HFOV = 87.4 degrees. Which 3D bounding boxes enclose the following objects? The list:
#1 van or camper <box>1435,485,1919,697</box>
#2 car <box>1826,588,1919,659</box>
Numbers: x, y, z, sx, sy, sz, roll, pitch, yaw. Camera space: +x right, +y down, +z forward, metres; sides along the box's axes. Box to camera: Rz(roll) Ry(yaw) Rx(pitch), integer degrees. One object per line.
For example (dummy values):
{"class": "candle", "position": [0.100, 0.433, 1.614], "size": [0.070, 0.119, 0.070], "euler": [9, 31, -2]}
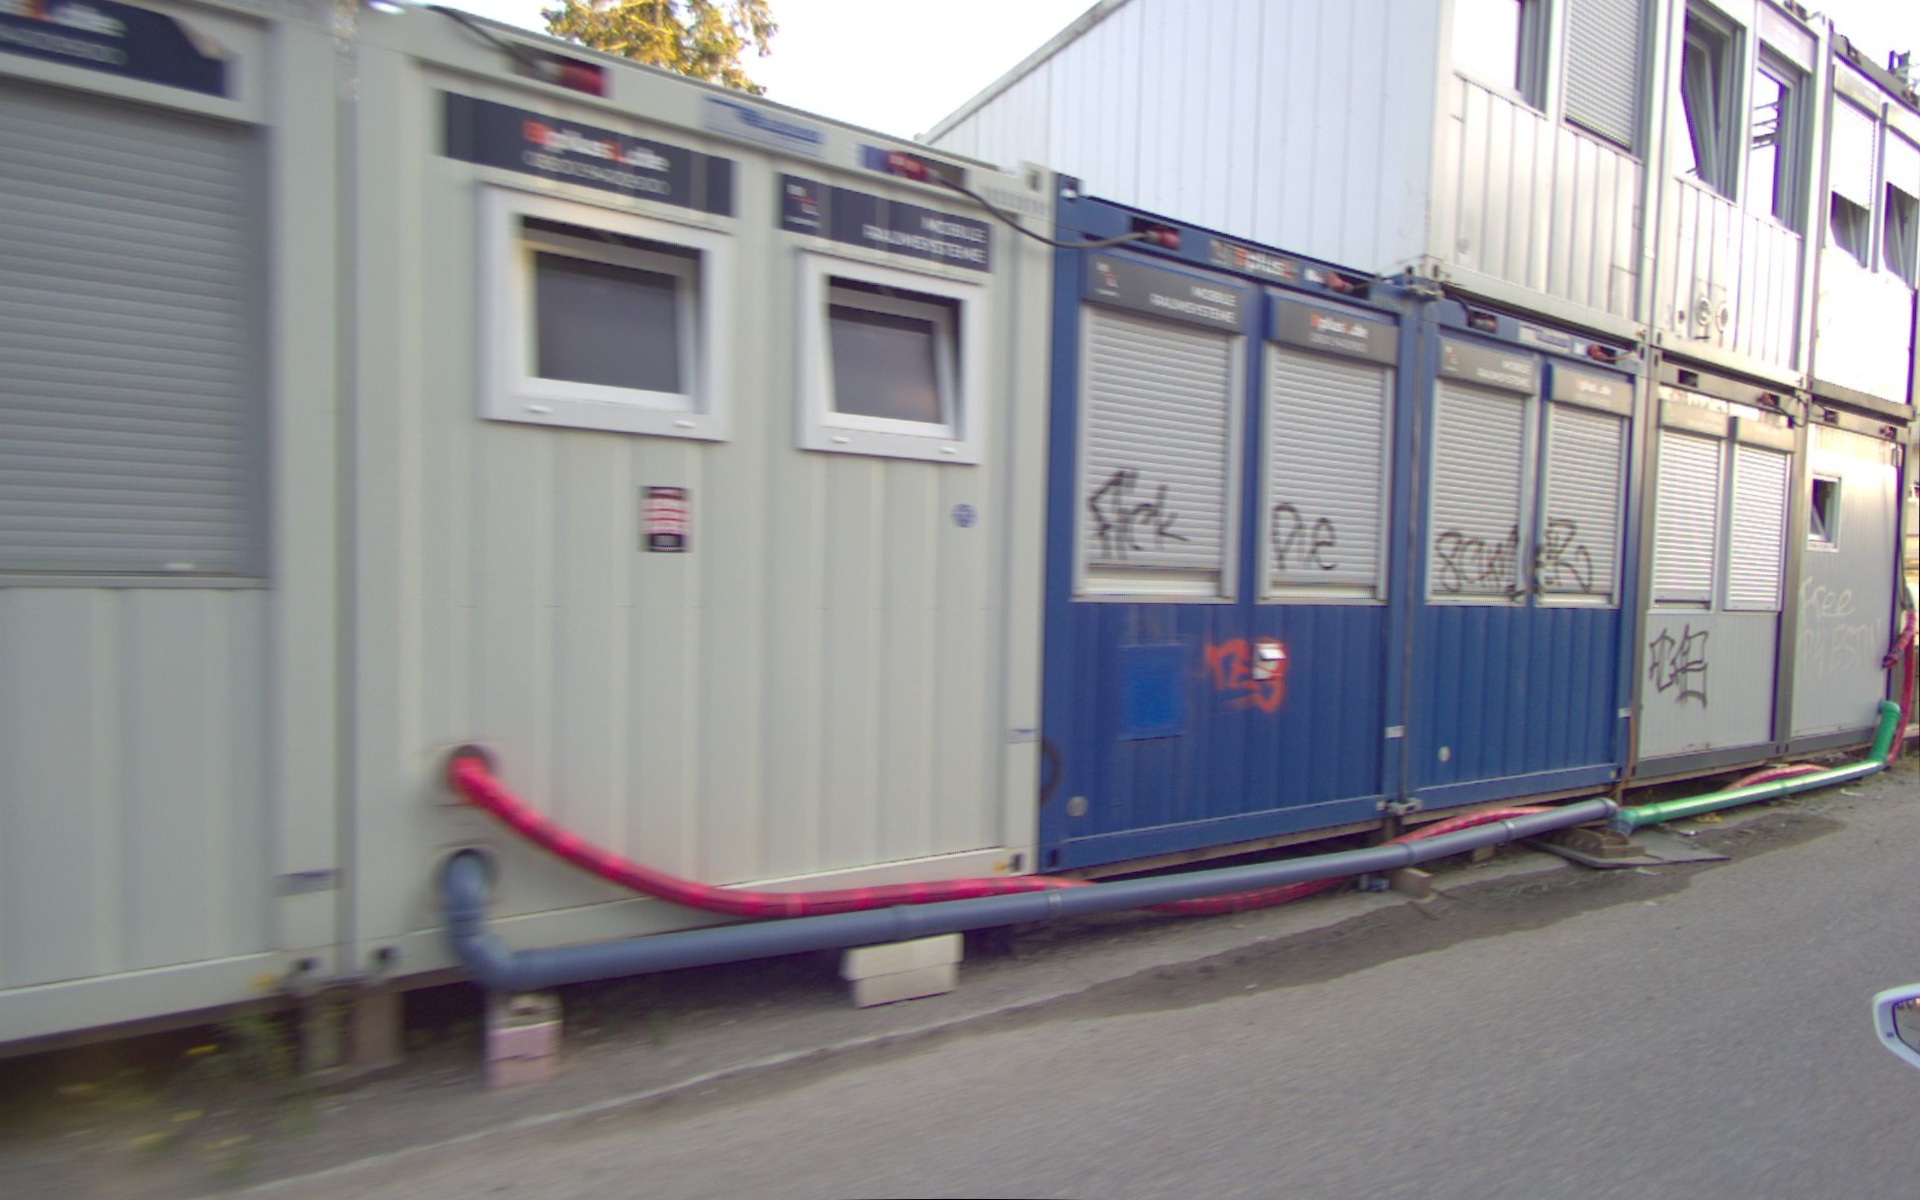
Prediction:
{"class": "van or camper", "position": [13.483, -0.227, 18.463], "size": [2.562, 3.090, 8.728], "euler": [0, 1, -28]}
{"class": "car", "position": [23.996, 0.592, 24.071], "size": [1.970, 1.670, 4.495], "euler": [1, 1, -21]}
